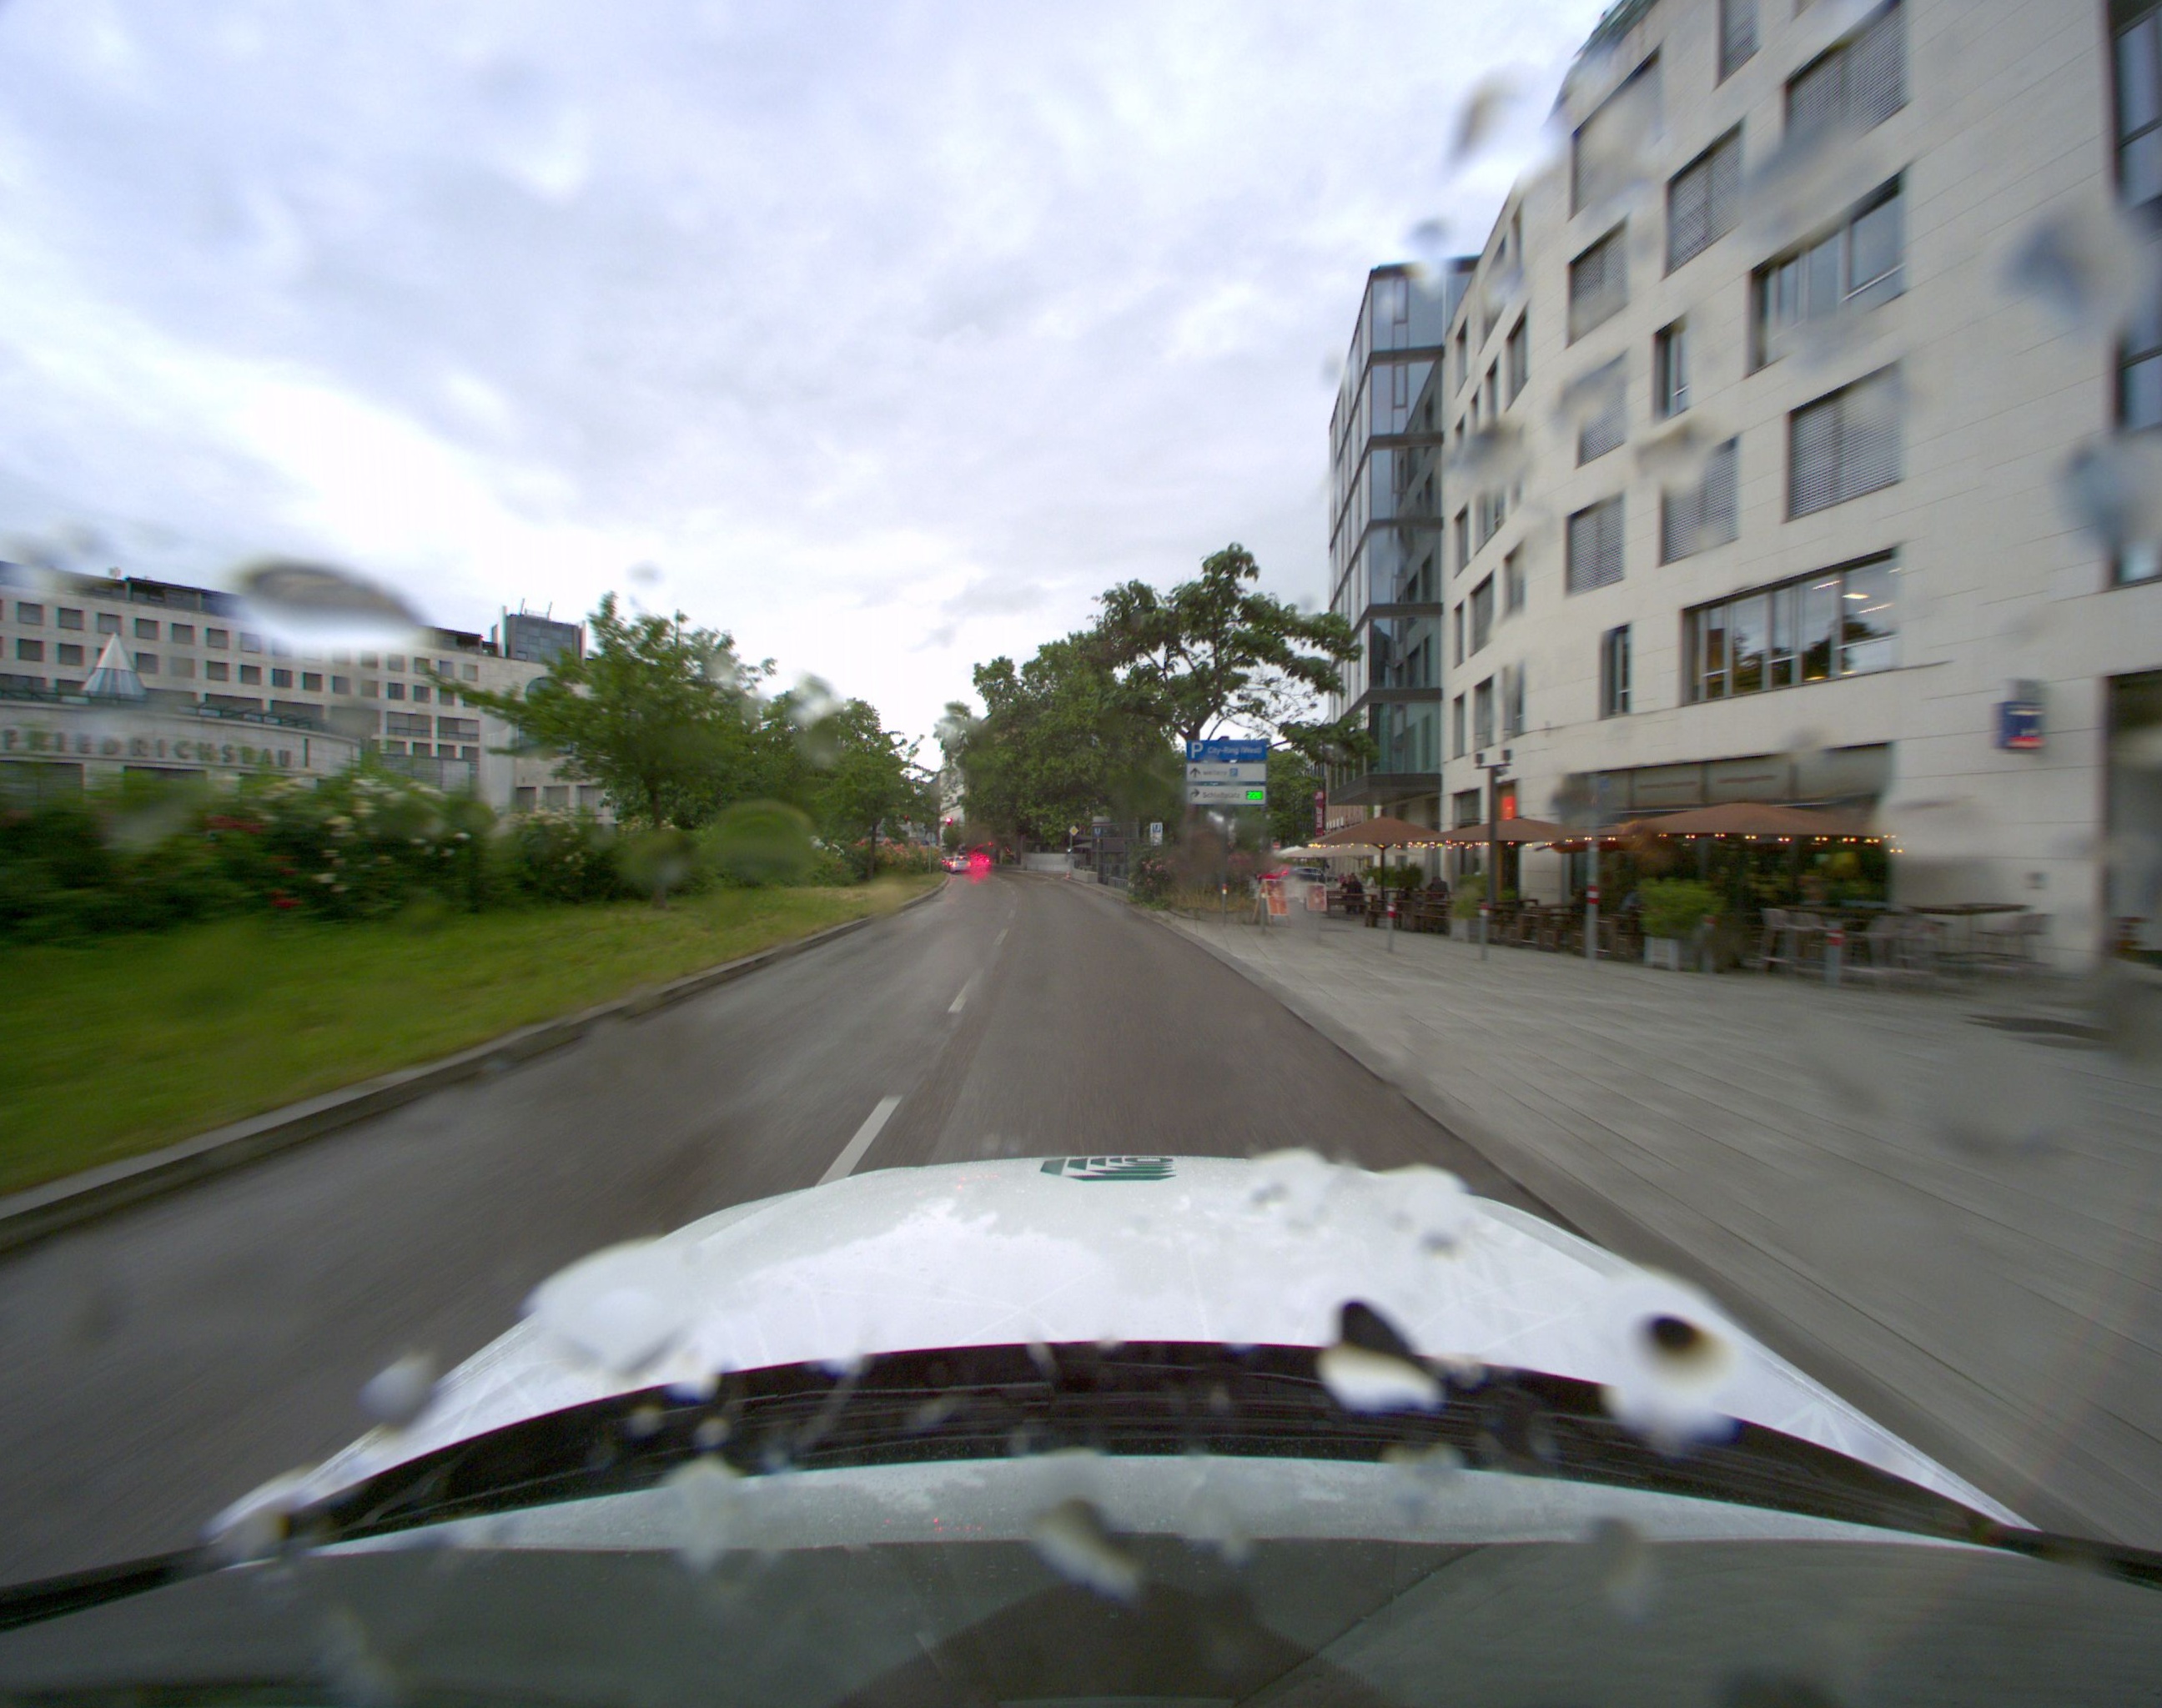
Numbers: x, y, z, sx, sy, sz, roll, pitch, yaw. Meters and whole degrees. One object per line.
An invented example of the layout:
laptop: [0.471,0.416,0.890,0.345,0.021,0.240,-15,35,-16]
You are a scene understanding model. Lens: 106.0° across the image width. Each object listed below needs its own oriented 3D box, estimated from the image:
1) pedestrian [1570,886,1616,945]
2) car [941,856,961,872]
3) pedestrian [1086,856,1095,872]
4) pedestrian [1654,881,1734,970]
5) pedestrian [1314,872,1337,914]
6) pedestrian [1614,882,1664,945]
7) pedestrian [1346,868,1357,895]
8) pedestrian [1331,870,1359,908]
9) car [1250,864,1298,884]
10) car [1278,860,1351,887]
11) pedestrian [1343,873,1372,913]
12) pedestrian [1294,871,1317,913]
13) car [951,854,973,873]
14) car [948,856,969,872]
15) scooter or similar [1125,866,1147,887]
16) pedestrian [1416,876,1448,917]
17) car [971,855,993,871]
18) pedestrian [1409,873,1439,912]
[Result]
pedestrian: [11.999,1.433,19.091,0.627,1.326,0.633,3,-1,-14]
car: [-13.199,1.007,82.717,1.693,1.463,4.326,-2,0,-13]
pedestrian: [0.838,0.865,73.274,0.684,1.410,0.902,3,-1,-8]
pedestrian: [9.742,1.123,12.972,0.770,1.326,0.637,3,-1,6]
pedestrian: [8.098,1.278,26.981,0.603,1.326,0.568,3,-1,6]
pedestrian: [12.264,1.306,17.908,0.627,1.326,0.633,3,-1,-14]
pedestrian: [13.962,1.418,42.062,0.432,1.403,0.479,0,-1,9]
pedestrian: [9.576,1.274,29.536,0.813,1.326,0.637,3,-1,6]
car: [15.300,1.601,64.769,1.620,1.416,3.492,2,0,-33]
car: [16.256,1.354,56.919,4.705,1.691,2.010,1,0,10]
pedestrian: [9.664,1.366,28.498,0.813,1.326,0.637,3,-1,6]
pedestrian: [7.444,1.252,27.041,0.603,1.326,0.568,3,-1,6]
car: [-10.243,0.800,69.884,1.592,1.491,3.490,-2,0,-13]
car: [-11.533,0.902,76.519,1.693,1.463,4.112,-2,0,-13]
scooter or similar: [2.989,1.223,44.291,1.112,1.158,0.442,1,0,-8]
pedestrian: [12.140,1.466,28.193,0.813,1.326,0.637,3,-1,6]
car: [-10.437,0.930,85.595,1.949,1.666,4.326,1,-1,-13]
pedestrian: [12.252,1.369,29.105,0.813,1.326,0.637,3,-1,6]
